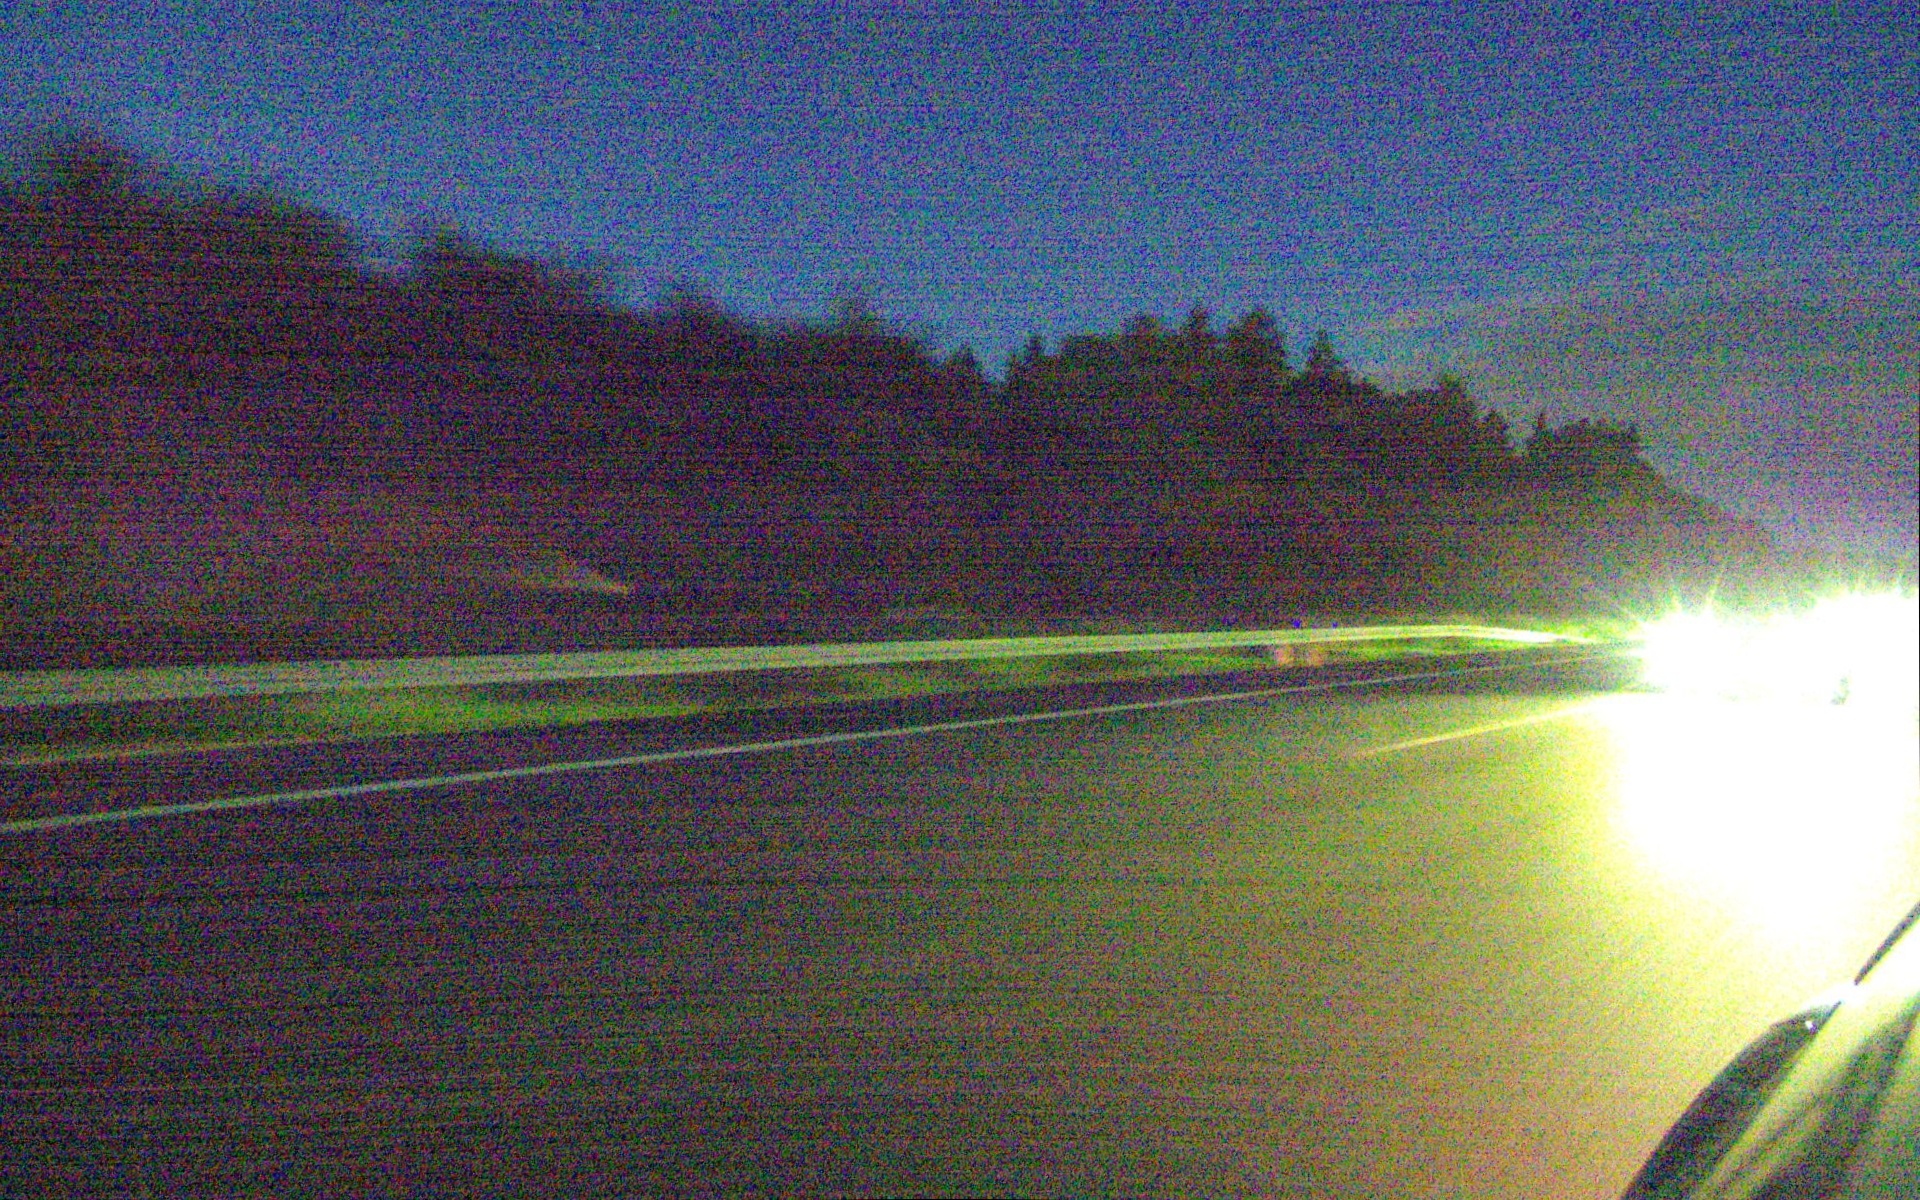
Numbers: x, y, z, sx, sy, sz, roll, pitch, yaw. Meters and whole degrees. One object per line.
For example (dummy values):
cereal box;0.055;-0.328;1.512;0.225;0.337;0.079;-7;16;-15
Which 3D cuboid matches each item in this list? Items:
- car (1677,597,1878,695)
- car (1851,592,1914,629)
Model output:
car;13.877;0.686;17.066;4.981;1.419;1.838;1;0;-41
car;45.878;0.518;50.284;5.082;1.739;1.995;1;-1;-44
